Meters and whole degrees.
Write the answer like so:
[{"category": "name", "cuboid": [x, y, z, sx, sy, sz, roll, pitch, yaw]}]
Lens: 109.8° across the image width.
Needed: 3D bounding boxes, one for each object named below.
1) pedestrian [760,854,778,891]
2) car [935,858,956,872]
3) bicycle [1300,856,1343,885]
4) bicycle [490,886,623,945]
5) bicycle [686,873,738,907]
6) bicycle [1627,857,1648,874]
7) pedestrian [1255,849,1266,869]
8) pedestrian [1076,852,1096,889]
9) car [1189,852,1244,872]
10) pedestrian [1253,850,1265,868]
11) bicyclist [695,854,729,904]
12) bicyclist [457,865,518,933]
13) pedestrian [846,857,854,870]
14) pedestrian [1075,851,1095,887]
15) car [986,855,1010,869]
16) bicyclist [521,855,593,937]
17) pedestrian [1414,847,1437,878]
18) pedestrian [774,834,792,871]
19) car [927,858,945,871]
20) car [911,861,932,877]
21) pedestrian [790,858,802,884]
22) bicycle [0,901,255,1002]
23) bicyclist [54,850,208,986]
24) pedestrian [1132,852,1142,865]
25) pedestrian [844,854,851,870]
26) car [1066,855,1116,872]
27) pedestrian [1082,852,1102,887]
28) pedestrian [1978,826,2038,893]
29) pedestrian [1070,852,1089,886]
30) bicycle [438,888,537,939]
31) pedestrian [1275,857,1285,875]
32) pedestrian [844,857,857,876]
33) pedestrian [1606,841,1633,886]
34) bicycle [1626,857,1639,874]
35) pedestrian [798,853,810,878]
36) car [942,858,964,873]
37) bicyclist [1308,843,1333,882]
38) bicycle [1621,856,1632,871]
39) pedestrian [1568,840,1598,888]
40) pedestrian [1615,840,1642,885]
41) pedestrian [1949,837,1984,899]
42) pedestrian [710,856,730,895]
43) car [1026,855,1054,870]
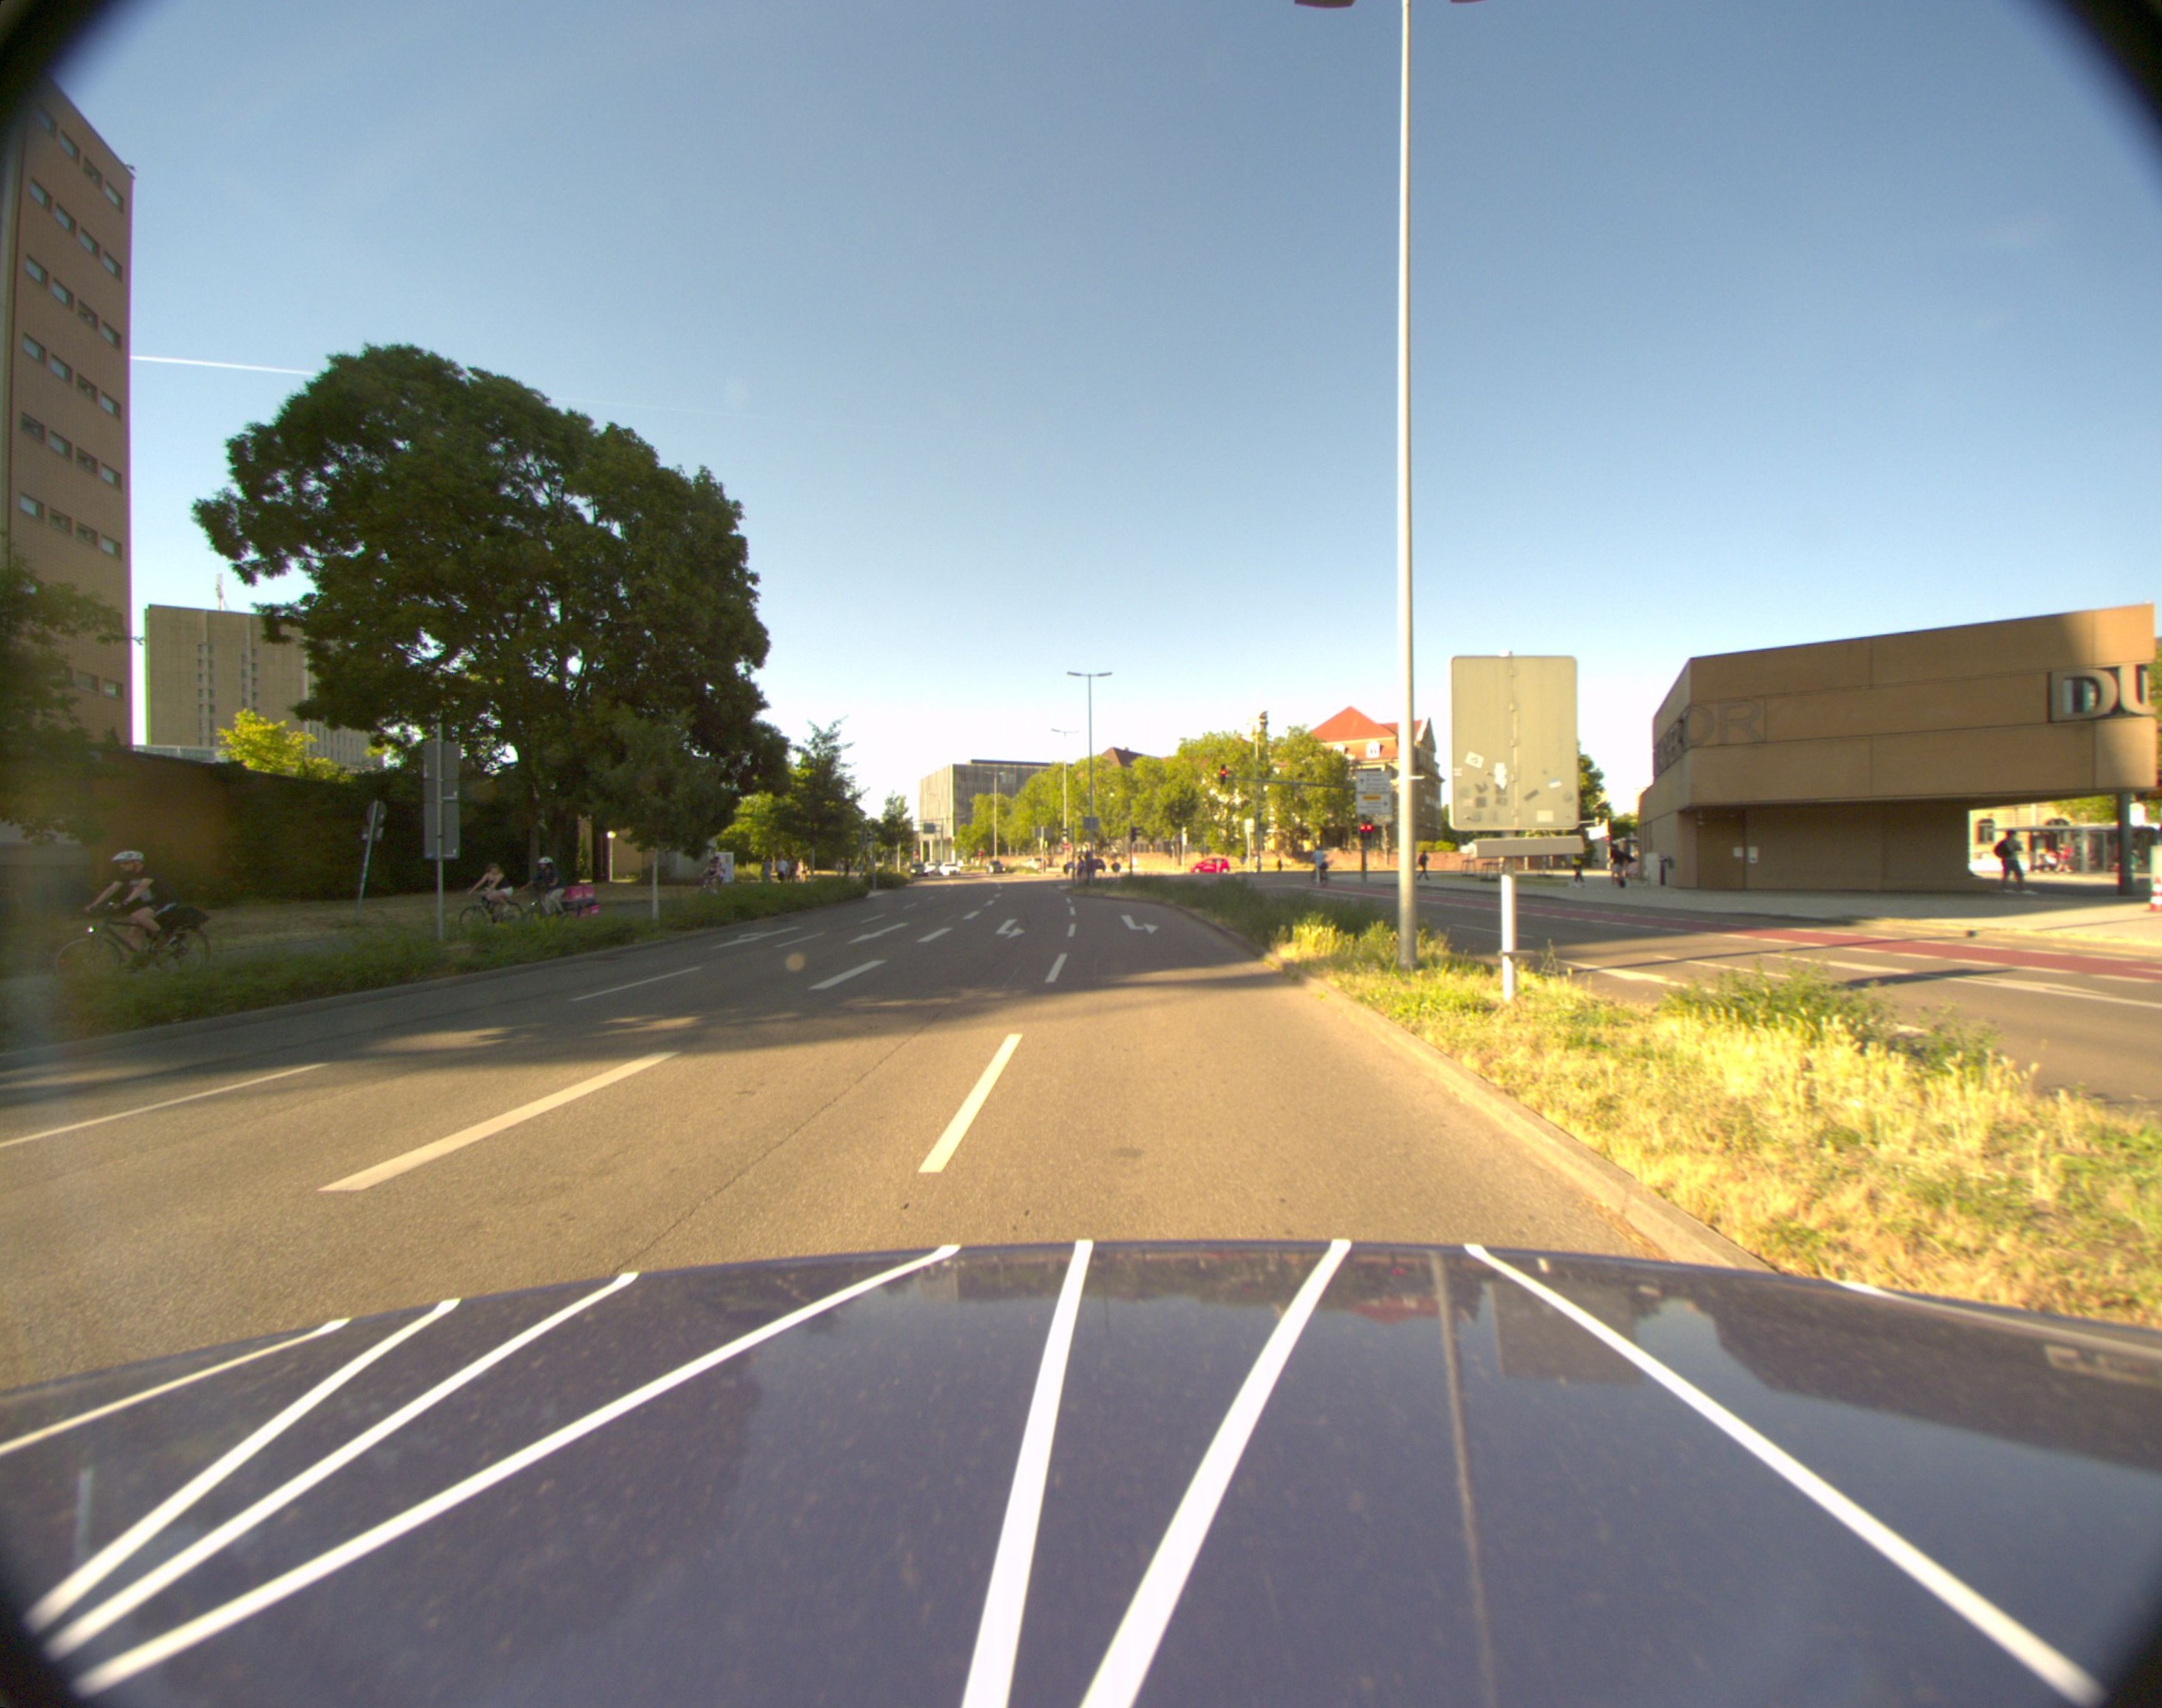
[{"category": "pedestrian", "cuboid": [-15.878, 0.943, 38.676, 0.575, 1.858, 0.624, 0, 1, 32]}, {"category": "car", "cuboid": [-15.692, 1.214, 87.870, 1.926, 1.510, 4.012, -1, 0, -16]}, {"category": "bicycle", "cuboid": [11.326, 0.764, 35.905, 0.742, 1.248, 2.553, -1, 1, -12]}, {"category": "bicycle", "cuboid": [-12.037, 1.367, 17.572, 0.779, 1.149, 2.584, 0, 0, 18]}, {"category": "bicycle", "cuboid": [-13.653, 1.325, 28.199, 0.719, 1.115, 2.067, -2, 0, 5]}, {"category": "bicycle", "cuboid": [35.431, 0.735, 48.396, 0.743, 1.099, 2.129, -2, -2, 29]}, {"category": "pedestrian", "cuboid": [16.900, 0.472, 71.599, 0.872, 1.884, 0.712, 0, 4, -3]}, {"category": "pedestrian", "cuboid": [0.248, 0.796, 36.892, 0.927, 1.731, 0.757, -1, 1, -4]}, {"category": "car", "cuboid": [12.252, 0.743, 69.111, 4.602, 1.576, 2.196, -2, -2, 1]}, {"category": "pedestrian", "cuboid": [16.602, 0.457, 70.834, 0.872, 1.665, 0.712, 0, 4, -3]}, {"category": "bicyclist", "cuboid": [-13.665, 0.911, 28.139, 0.716, 1.777, 0.850, -2, 1, 5]}, {"category": "bicyclist", "cuboid": [-13.968, 1.049, 17.899, 0.716, 1.539, 0.850, -2, -1, 7]}, {"category": "pedestrian", "cuboid": [-26.200, 1.064, 86.292, 0.764, 1.534, 0.845, 0, 0, -25]}, {"category": "pedestrian", "cuboid": [0.202, 0.726, 37.680, 0.927, 1.731, 0.757, -1, 1, -4]}, {"category": "car", "cuboid": [-8.969, 0.830, 81.893, 1.926, 1.510, 4.012, -1, 0, -16]}, {"category": "bicyclist", "cuboid": [-12.063, 0.942, 17.511, 0.779, 1.823, 1.094, 0, 1, 17]}, {"category": "pedestrian", "cuboid": [19.039, 0.476, 42.014, 0.899, 1.675, 0.748, -1, 0, -4]}, {"category": "pedestrian", "cuboid": [-15.150, -0.096, 38.606, 0.575, 1.858, 0.624, 0, 1, 32]}, {"category": "car", "cuboid": [-17.986, 1.240, 94.153, 1.926, 1.510, 4.012, -1, 0, -16]}, {"category": "car", "cuboid": [-16.495, 1.514, 78.539, 1.805, 1.510, 3.994, -1, 0, -16]}, {"category": "pedestrian", "cuboid": [-16.880, 1.001, 45.026, 0.623, 1.565, 0.638, -1, 1, -19]}, {"category": "bicycle", "cuboid": [-13.438, 1.314, 10.831, 0.780, 1.149, 2.291, 0, 0, 1]}, {"category": "bicyclist", "cuboid": [-13.446, 0.864, 10.795, 0.780, 1.820, 1.093, 0, 0, 1]}, {"category": "pedestrian", "cuboid": [6.504, 0.484, 88.285, 0.975, 1.527, 0.921, -1, 1, -19]}, {"category": "pedestrian", "cuboid": [-24.715, 0.865, 80.338, 0.713, 1.703, 0.733, -1, 1, -19]}, {"category": "car", "cuboid": [0.990, 0.945, 77.730, 4.595, 1.576, 2.200, -2, -2, 27]}, {"category": "pedestrian", "cuboid": [0.544, 0.777, 38.729, 0.927, 1.731, 0.787, -1, 1, -4]}, {"category": "pedestrian", "cuboid": [28.210, 0.171, 23.144, 0.978, 1.970, 0.720, 0, 0, 32]}, {"category": "pedestrian", "cuboid": [-0.103, 0.774, 39.593, 0.927, 1.731, 0.757, -1, 1, -4]}, {"category": "bicycle", "cuboid": [-13.959, 1.377, 17.943, 0.718, 1.114, 1.870, -2, -2, 7]}, {"category": "pedestrian", "cuboid": [18.884, 1.097, 72.132, 0.791, 1.644, 0.713, 1, 4, 23]}, {"category": "pedestrian", "cuboid": [-21.703, 1.158, 71.487, 1.020, 1.739, 0.848, 0, 0, -25]}, {"category": "pedestrian", "cuboid": [20.381, 0.369, 28.771, 0.638, 1.678, 0.551, -2, -1, 20]}, {"category": "bicycle", "cuboid": [37.634, 0.749, 51.898, 0.565, 1.099, 1.977, -2, 0, 33]}, {"category": "pedestrian", "cuboid": [-18.999, 0.790, 52.109, 0.677, 1.694, 0.875, -1, 1, -24]}, {"category": "car", "cuboid": [-13.653, 1.244, 80.827, 1.805, 1.510, 4.425, -1, 0, -16]}, {"category": "bicyclist", "cuboid": [11.318, 0.405, 35.919, 0.742, 1.821, 1.012, -1, 1, -12]}, {"category": "bicycle", "cuboid": [41.533, 0.706, 57.872, 0.565, 1.048, 1.977, -2, 0, 38]}, {"category": "pedestrian", "cuboid": [19.510, 0.409, 29.534, 0.717, 1.824, 0.640, -2, -1, 7]}, {"category": "pedestrian", "cuboid": [21.213, 0.326, 29.435, 0.734, 1.720, 0.666, -2, -1, 32]}, {"category": "pedestrian", "cuboid": [29.440, 0.473, 25.276, 0.613, 2.001, 0.809, -3, -2, 43]}, {"category": "pedestrian", "cuboid": [-15.605, 0.927, 32.866, 0.623, 1.689, 0.630, -1, 1, -10]}, {"category": "car", "cuboid": [-5.011, 1.013, 92.223, 2.197, 1.674, 4.599, -1, 0, -19]}]
